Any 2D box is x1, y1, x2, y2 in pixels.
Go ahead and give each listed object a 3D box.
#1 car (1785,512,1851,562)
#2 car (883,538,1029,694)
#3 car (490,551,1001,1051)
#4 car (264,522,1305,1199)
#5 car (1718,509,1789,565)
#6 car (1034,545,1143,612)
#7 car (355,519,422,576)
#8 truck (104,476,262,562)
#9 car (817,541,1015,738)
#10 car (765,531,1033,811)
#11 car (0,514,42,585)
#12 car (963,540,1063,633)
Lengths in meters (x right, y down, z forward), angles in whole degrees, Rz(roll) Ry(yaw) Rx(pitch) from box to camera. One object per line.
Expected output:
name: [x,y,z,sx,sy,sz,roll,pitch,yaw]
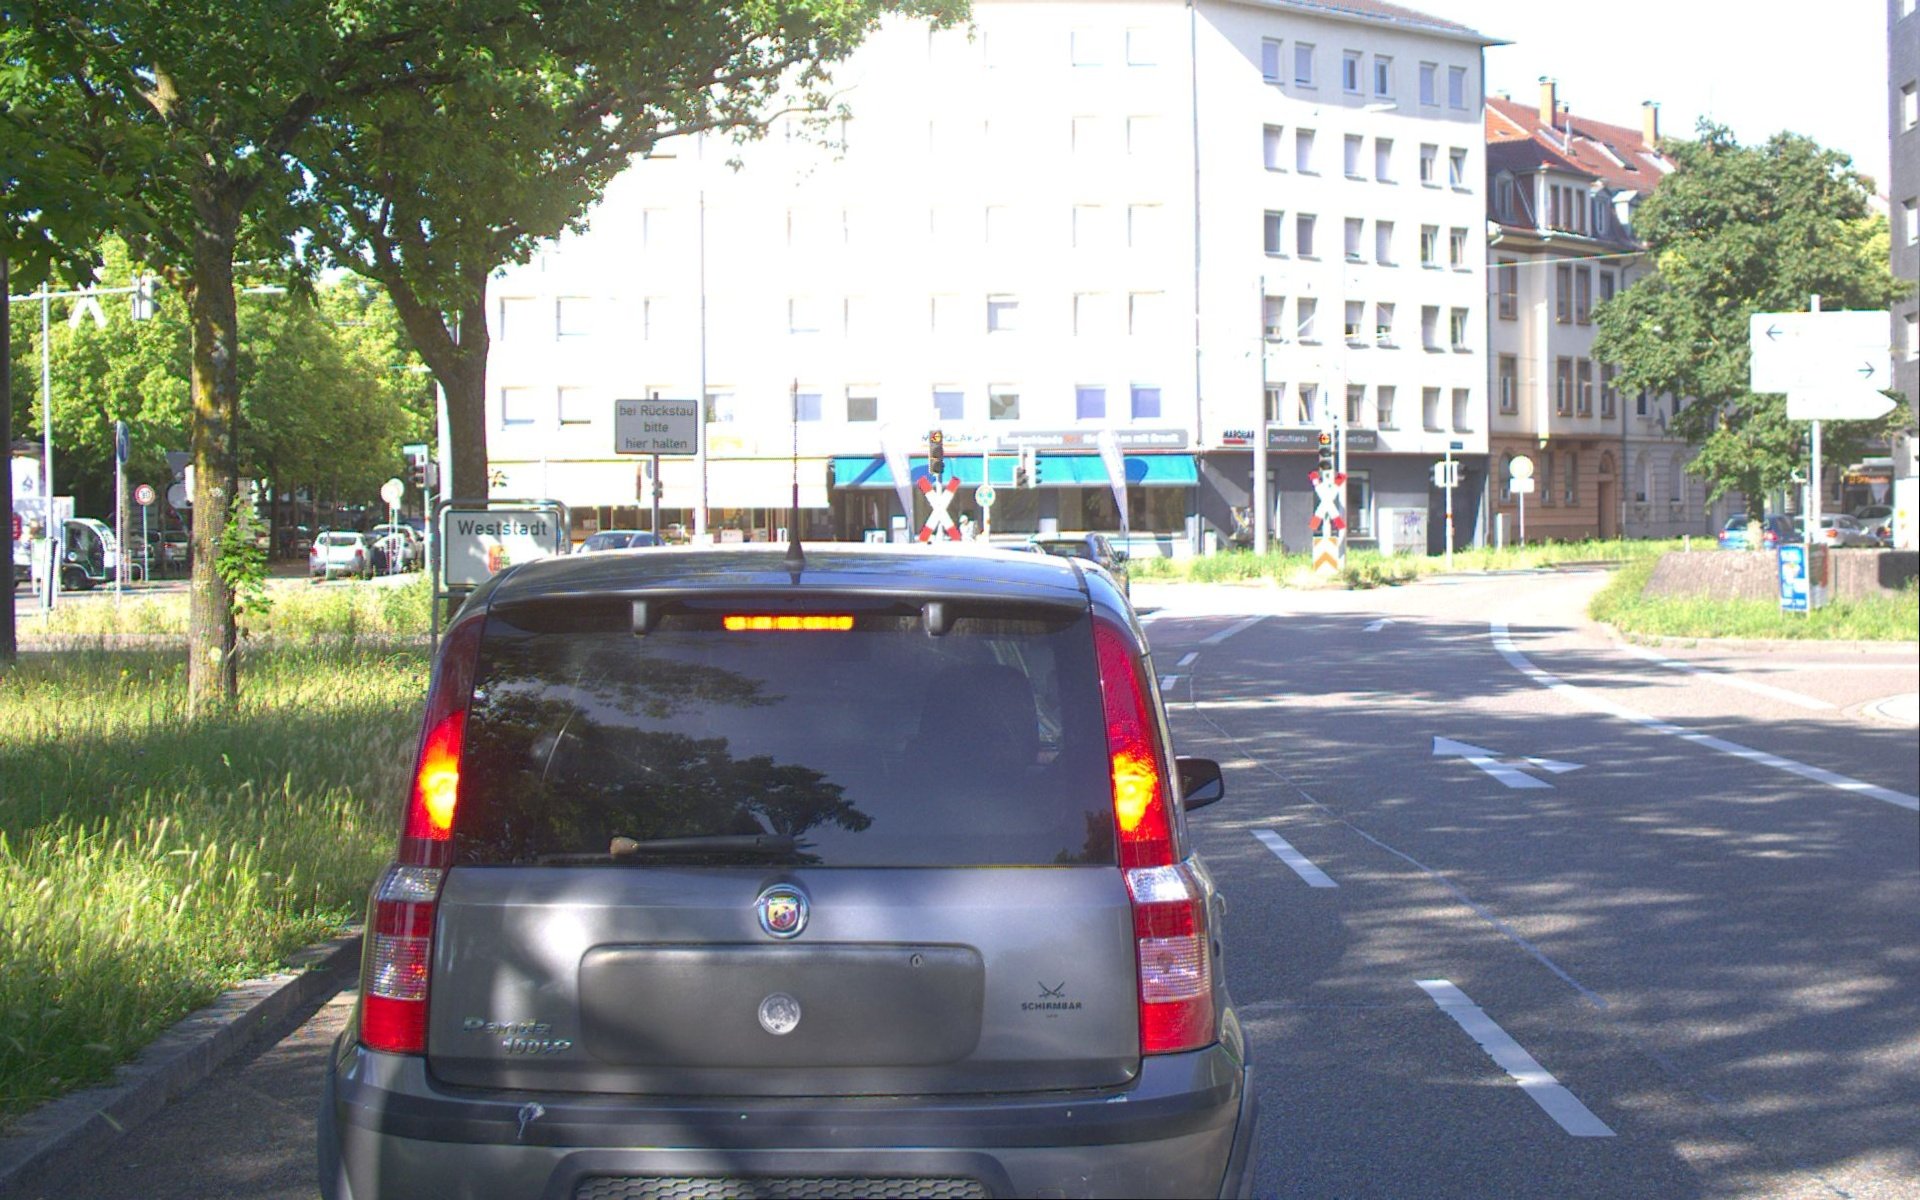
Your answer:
car: [23.449,-1.724,93.884,1.528,1.310,3.285,0,2,18]
car: [-0.058,0.120,33.864,1.356,1.444,3.266,-1,1,-1]
car: [-0.639,0.558,11.641,1.463,1.396,3.393,0,1,-1]
car: [-0.294,0.597,7.421,1.628,1.503,4.000,-1,1,-1]
car: [20.880,-1.666,90.392,1.683,1.444,3.569,0,1,15]
car: [2.172,-0.373,57.671,1.143,1.060,2.719,0,1,17]
car: [-20.517,-1.896,123.583,1.993,2.007,4.001,-1,1,-4]
truck: [-28.883,-2.998,127.774,5.485,3.158,2.340,0,1,28]
car: [-0.343,0.266,27.287,1.463,1.420,3.381,0,2,-1]
car: [-0.357,0.354,20.681,1.463,1.503,3.505,0,2,-1]
car: [-28.540,-1.433,98.169,4.176,2.007,1.932,-1,1,-2]
car: [0.750,-0.215,49.597,1.356,1.277,2.876,0,1,-1]
